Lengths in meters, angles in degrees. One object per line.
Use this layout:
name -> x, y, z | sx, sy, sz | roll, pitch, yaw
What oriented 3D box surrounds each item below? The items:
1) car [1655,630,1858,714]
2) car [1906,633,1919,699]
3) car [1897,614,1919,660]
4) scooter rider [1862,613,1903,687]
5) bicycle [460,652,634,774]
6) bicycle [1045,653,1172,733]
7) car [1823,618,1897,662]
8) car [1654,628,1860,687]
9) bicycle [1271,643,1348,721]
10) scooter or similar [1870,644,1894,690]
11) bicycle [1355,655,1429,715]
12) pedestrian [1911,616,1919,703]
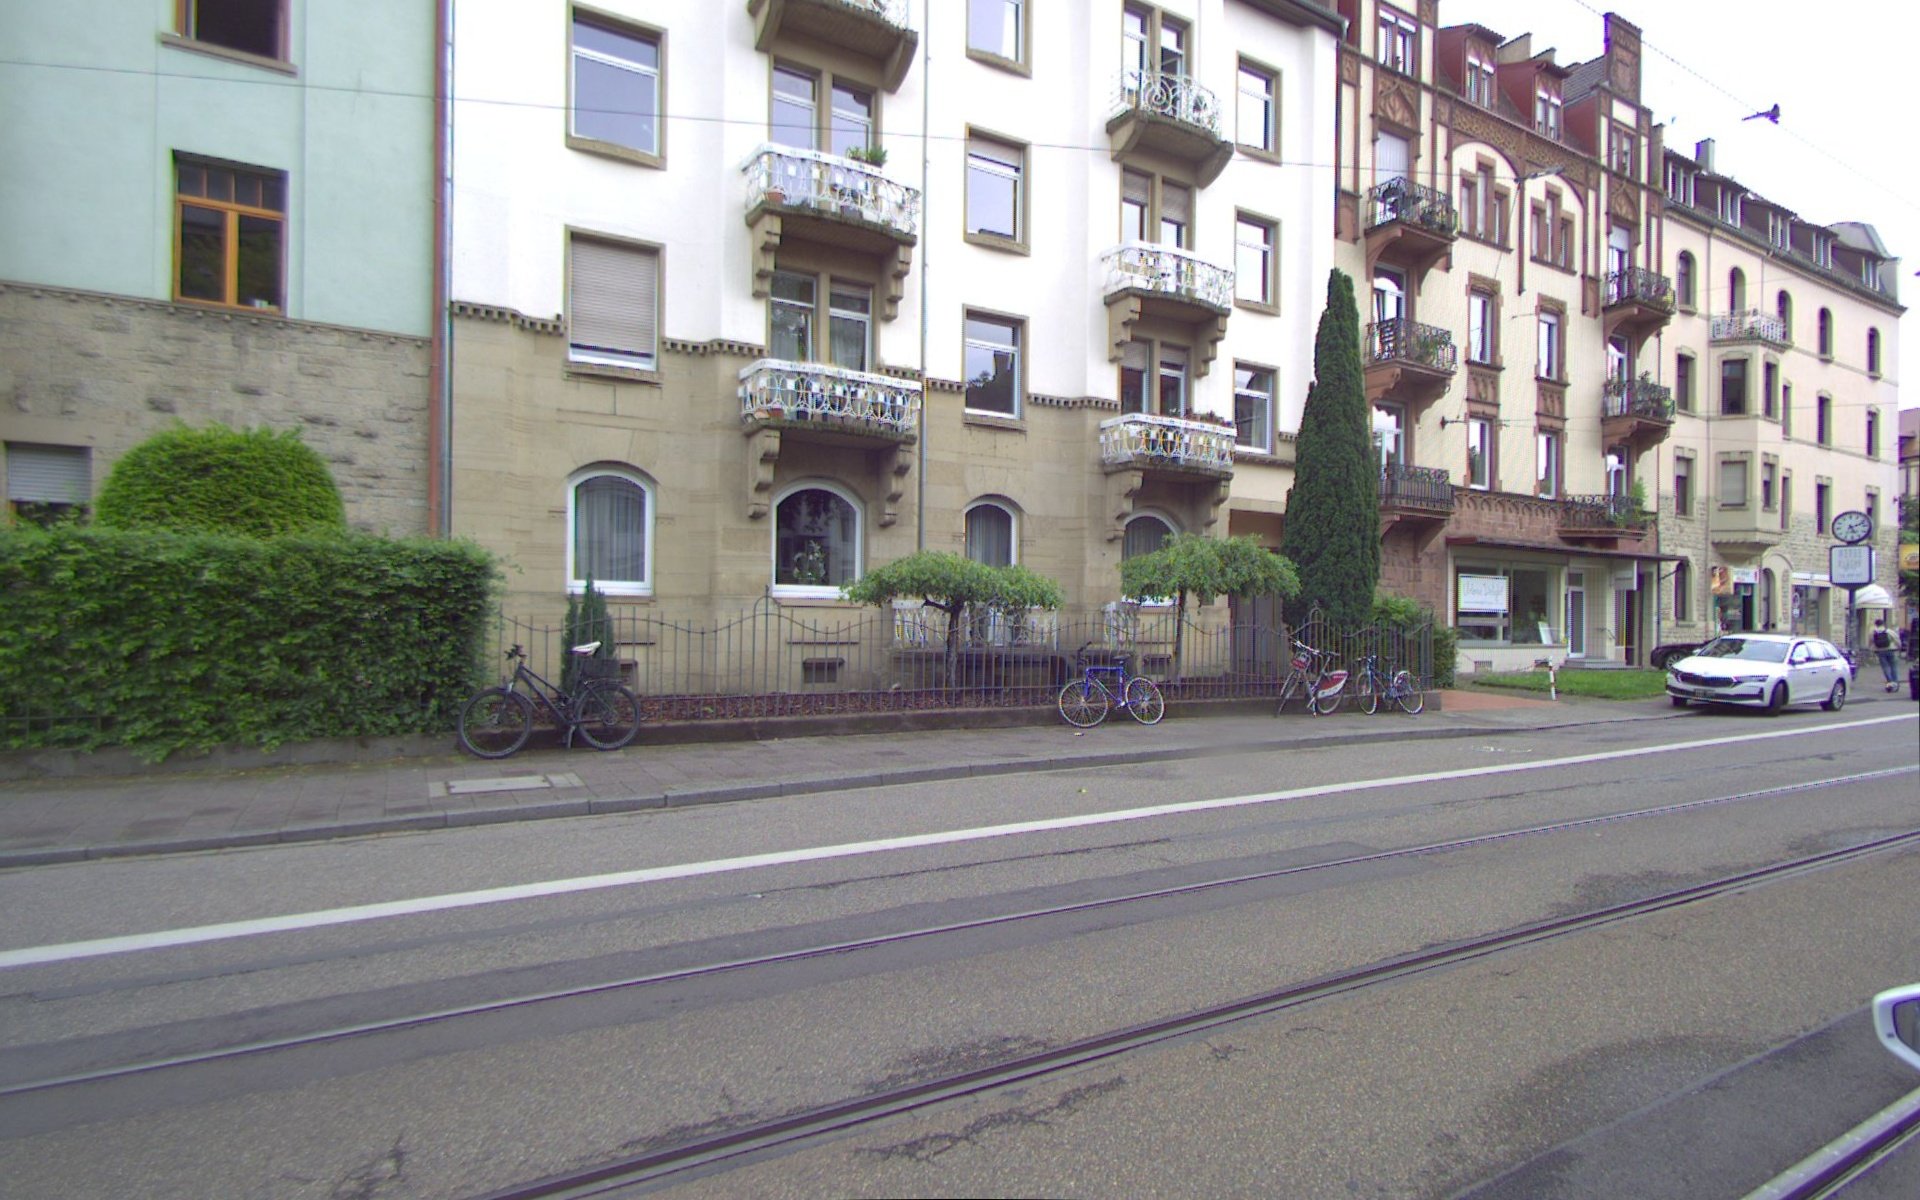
car -> 15.964, 1.371, 20.080 | 4.557, 1.504, 1.738 | 1, -2, -31
car -> 25.951, 1.653, 25.702 | 4.846, 1.632, 1.868 | 2, -4, -39
car -> 51.118, 1.927, 51.650 | 2.142, 2.449, 5.382 | 0, -1, 18
scooter rider -> 25.956, 1.406, 28.259 | 0.749, 2.040, 0.639 | 1, -1, -30
bicycle -> -3.992, 1.068, 9.762 | 1.528, 1.098, 0.358 | 1, -1, -31
bicycle -> 2.000, 1.230, 13.492 | 1.640, 0.938, 0.358 | 0, -19, -28
car -> 55.228, 2.428, 61.736 | 2.146, 2.560, 5.373 | 0, -1, 28
car -> 23.498, 1.636, 29.785 | 1.861, 1.389, 4.397 | 1, 1, -34
bicycle -> 5.335, 1.221, 15.301 | 1.613, 1.116, 0.381 | 2, -2, -42
scooter or similar -> 25.955, 1.878, 28.262 | 0.942, 1.250, 0.230 | 1, -1, -30
bicycle -> 7.172, 1.391, 16.655 | 1.498, 0.950, 0.330 | 1, -1, -31
pedestrian -> 21.028, 1.289, 21.694 | 0.661, 1.868, 0.877 | -1, -2, 43
